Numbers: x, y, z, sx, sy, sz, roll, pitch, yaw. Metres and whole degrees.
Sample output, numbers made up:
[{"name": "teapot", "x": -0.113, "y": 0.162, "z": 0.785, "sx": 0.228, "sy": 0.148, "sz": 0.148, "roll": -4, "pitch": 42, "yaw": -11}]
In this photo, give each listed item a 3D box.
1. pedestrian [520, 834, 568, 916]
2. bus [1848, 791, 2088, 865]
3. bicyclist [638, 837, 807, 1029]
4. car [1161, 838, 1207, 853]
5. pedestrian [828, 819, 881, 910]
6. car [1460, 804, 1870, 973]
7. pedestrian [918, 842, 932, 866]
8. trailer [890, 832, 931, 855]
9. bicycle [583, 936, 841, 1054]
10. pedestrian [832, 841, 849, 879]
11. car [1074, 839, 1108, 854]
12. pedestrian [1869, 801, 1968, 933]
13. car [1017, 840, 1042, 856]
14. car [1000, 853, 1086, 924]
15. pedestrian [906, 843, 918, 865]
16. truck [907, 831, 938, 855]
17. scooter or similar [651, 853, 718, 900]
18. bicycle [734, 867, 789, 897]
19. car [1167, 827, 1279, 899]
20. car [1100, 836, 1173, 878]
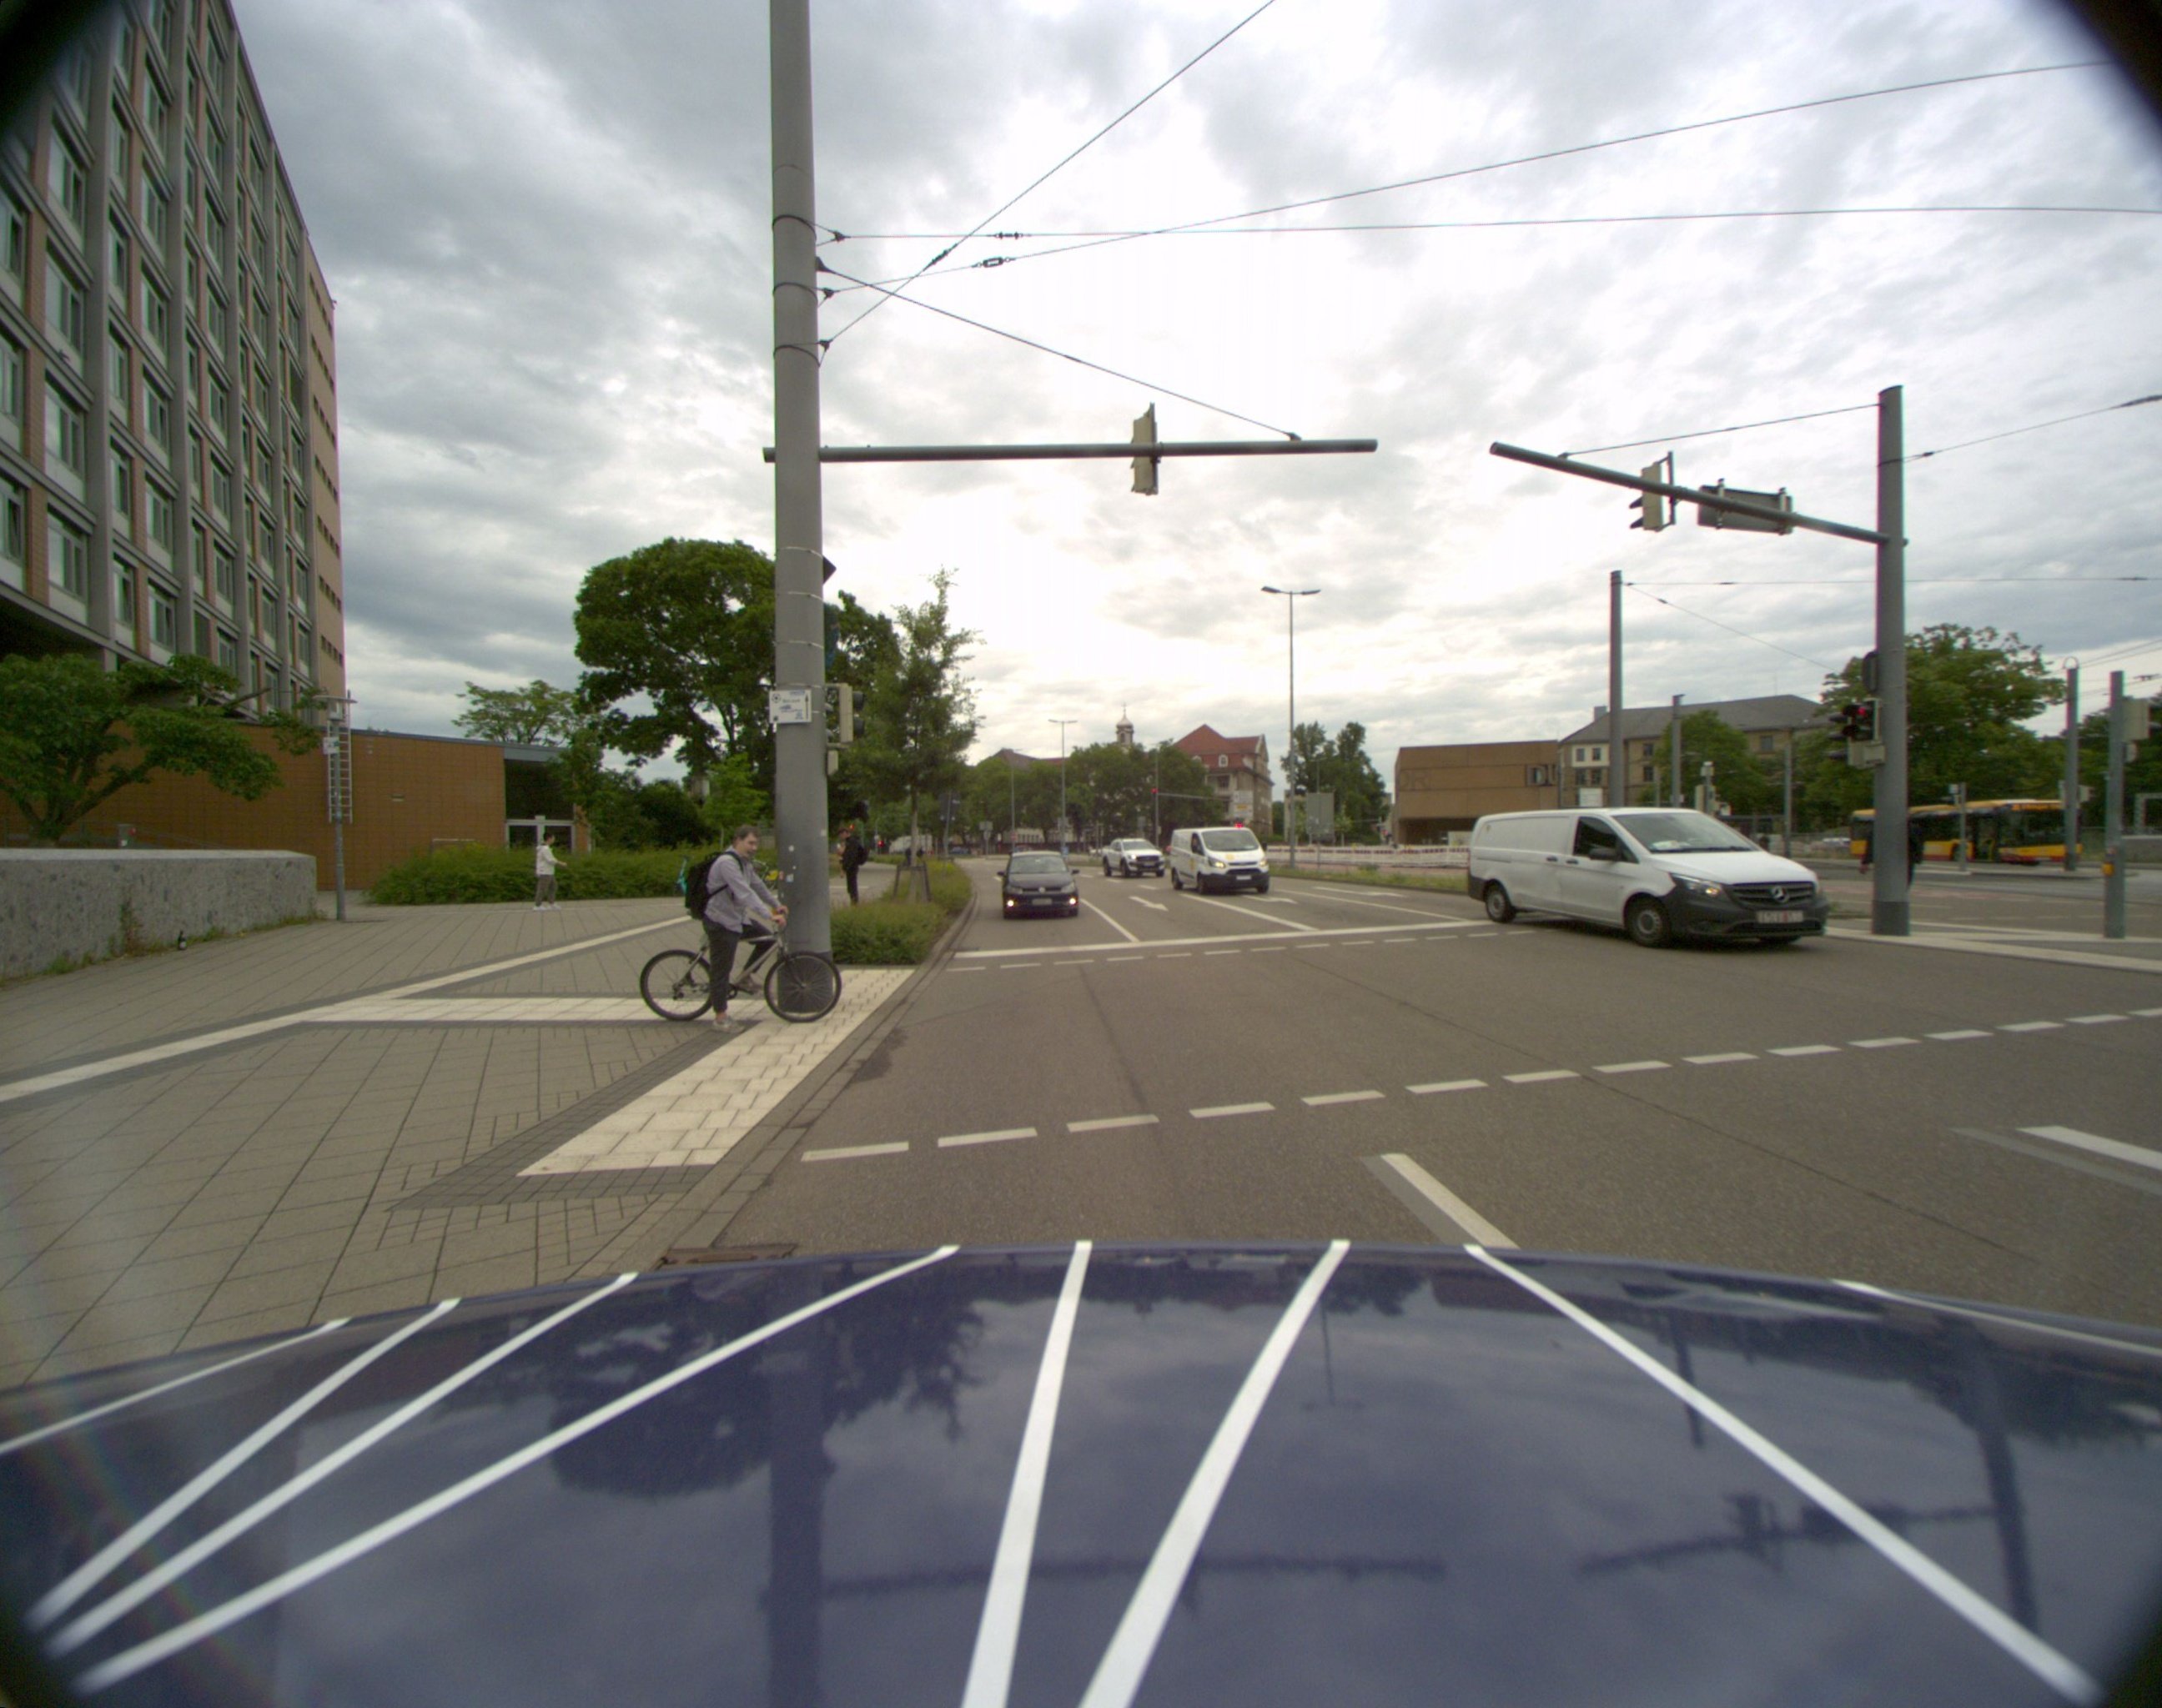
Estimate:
[{"name": "pedestrian", "x": -12.153, "y": 0.456, "z": 17.213, "sx": 0.704, "sy": 1.795, "sz": 0.837, "roll": -1, "pitch": 1, "yaw": -25}, {"name": "bus", "x": 43.400, "y": -1.235, "z": 38.007, "sx": 2.858, "sy": 3.060, "sz": 12.037, "roll": -1, "pitch": 1, "yaw": 24}, {"name": "bicyclist", "x": -3.002, "y": 0.618, "z": 6.476, "sx": 1.101, "sy": 1.512, "sz": 0.759, "roll": -1, "pitch": 1, "yaw": -10}, {"name": "car", "x": 12.069, "y": -1.051, "z": 88.884, "sx": 5.251, "sy": 1.707, "sz": 1.908, "roll": -1, "pitch": 1, "yaw": -31}, {"name": "pedestrian", "x": -4.955, "y": 0.211, "z": 16.649, "sx": 0.876, "sy": 1.917, "sz": 0.722, "roll": -2, "pitch": 2, "yaw": -39}, {"name": "car", "x": 7.974, "y": 0.339, "z": 11.226, "sx": 1.923, "sy": 1.871, "sz": 5.086, "roll": -2, "pitch": 1, "yaw": -4}, {"name": "pedestrian", "x": -11.907, "y": -0.002, "z": 57.985, "sx": 0.596, "sy": 1.790, "sz": 0.723, "roll": 3, "pitch": 1, "yaw": 38}, {"name": "trailer", "x": -31.517, "y": -1.920, "z": 140.120, "sx": 2.952, "sy": 3.991, "sz": 13.776, "roll": -3, "pitch": 1, "yaw": -32}, {"name": "bicycle", "x": -3.055, "y": 1.165, "z": 6.475, "sx": 1.827, "sy": 0.835, "sz": 0.767, "roll": 1, "pitch": 1, "yaw": -10}, {"name": "pedestrian", "x": -11.417, "y": 0.269, "z": 36.137, "sx": 0.631, "sy": 1.790, "sz": 0.597, "roll": 2, "pitch": 1, "yaw": -9}, {"name": "car", "x": 1.191, "y": -0.911, "z": 92.656, "sx": 3.997, "sy": 1.718, "sz": 1.999, "roll": -2, "pitch": 1, "yaw": 0}, {"name": "pedestrian", "x": 12.909, "y": 0.182, "z": 11.751, "sx": 0.779, "sy": 1.932, "sz": 0.983, "roll": 0, "pitch": 1, "yaw": 32}, {"name": "car", "x": -6.772, "y": -0.756, "z": 99.711, "sx": 2.002, "sy": 2.002, "sz": 3.978, "roll": -2, "pitch": 1, "yaw": -24}, {"name": "car", "x": -1.005, "y": 0.721, "z": 17.909, "sx": 1.656, "sy": 1.404, "sz": 3.996, "roll": -1, "pitch": 1, "yaw": -8}, {"name": "pedestrian", "x": -13.770, "y": 0.007, "z": 61.857, "sx": 0.596, "sy": 1.790, "sz": 0.723, "roll": 3, "pitch": 1, "yaw": 38}, {"name": "truck", "x": -28.086, "y": -1.965, "z": 134.599, "sx": 2.918, "sy": 4.002, "sz": 7.143, "roll": -3, "pitch": 1, "yaw": -32}, {"name": "scooter or similar", "x": -11.665, "y": 0.648, "z": 22.381, "sx": 1.607, "sy": 1.282, "sz": 0.693, "roll": -3, "pitch": 2, "yaw": -37}, {"name": "bicycle", "x": -10.057, "y": 0.861, "z": 24.021, "sx": 0.557, "sy": 0.843, "sz": 2.075, "roll": 0, "pitch": 1, "yaw": 10}, {"name": "car", "x": 4.175, "y": 0.215, "z": 23.082, "sx": 2.000, "sy": 1.931, "sz": 4.520, "roll": -1, "pitch": 1, "yaw": -8}, {"name": "car", "x": 2.519, "y": 0.100, "z": 35.987, "sx": 2.091, "sy": 1.838, "sz": 4.745, "roll": -1, "pitch": 1, "yaw": -14}]
